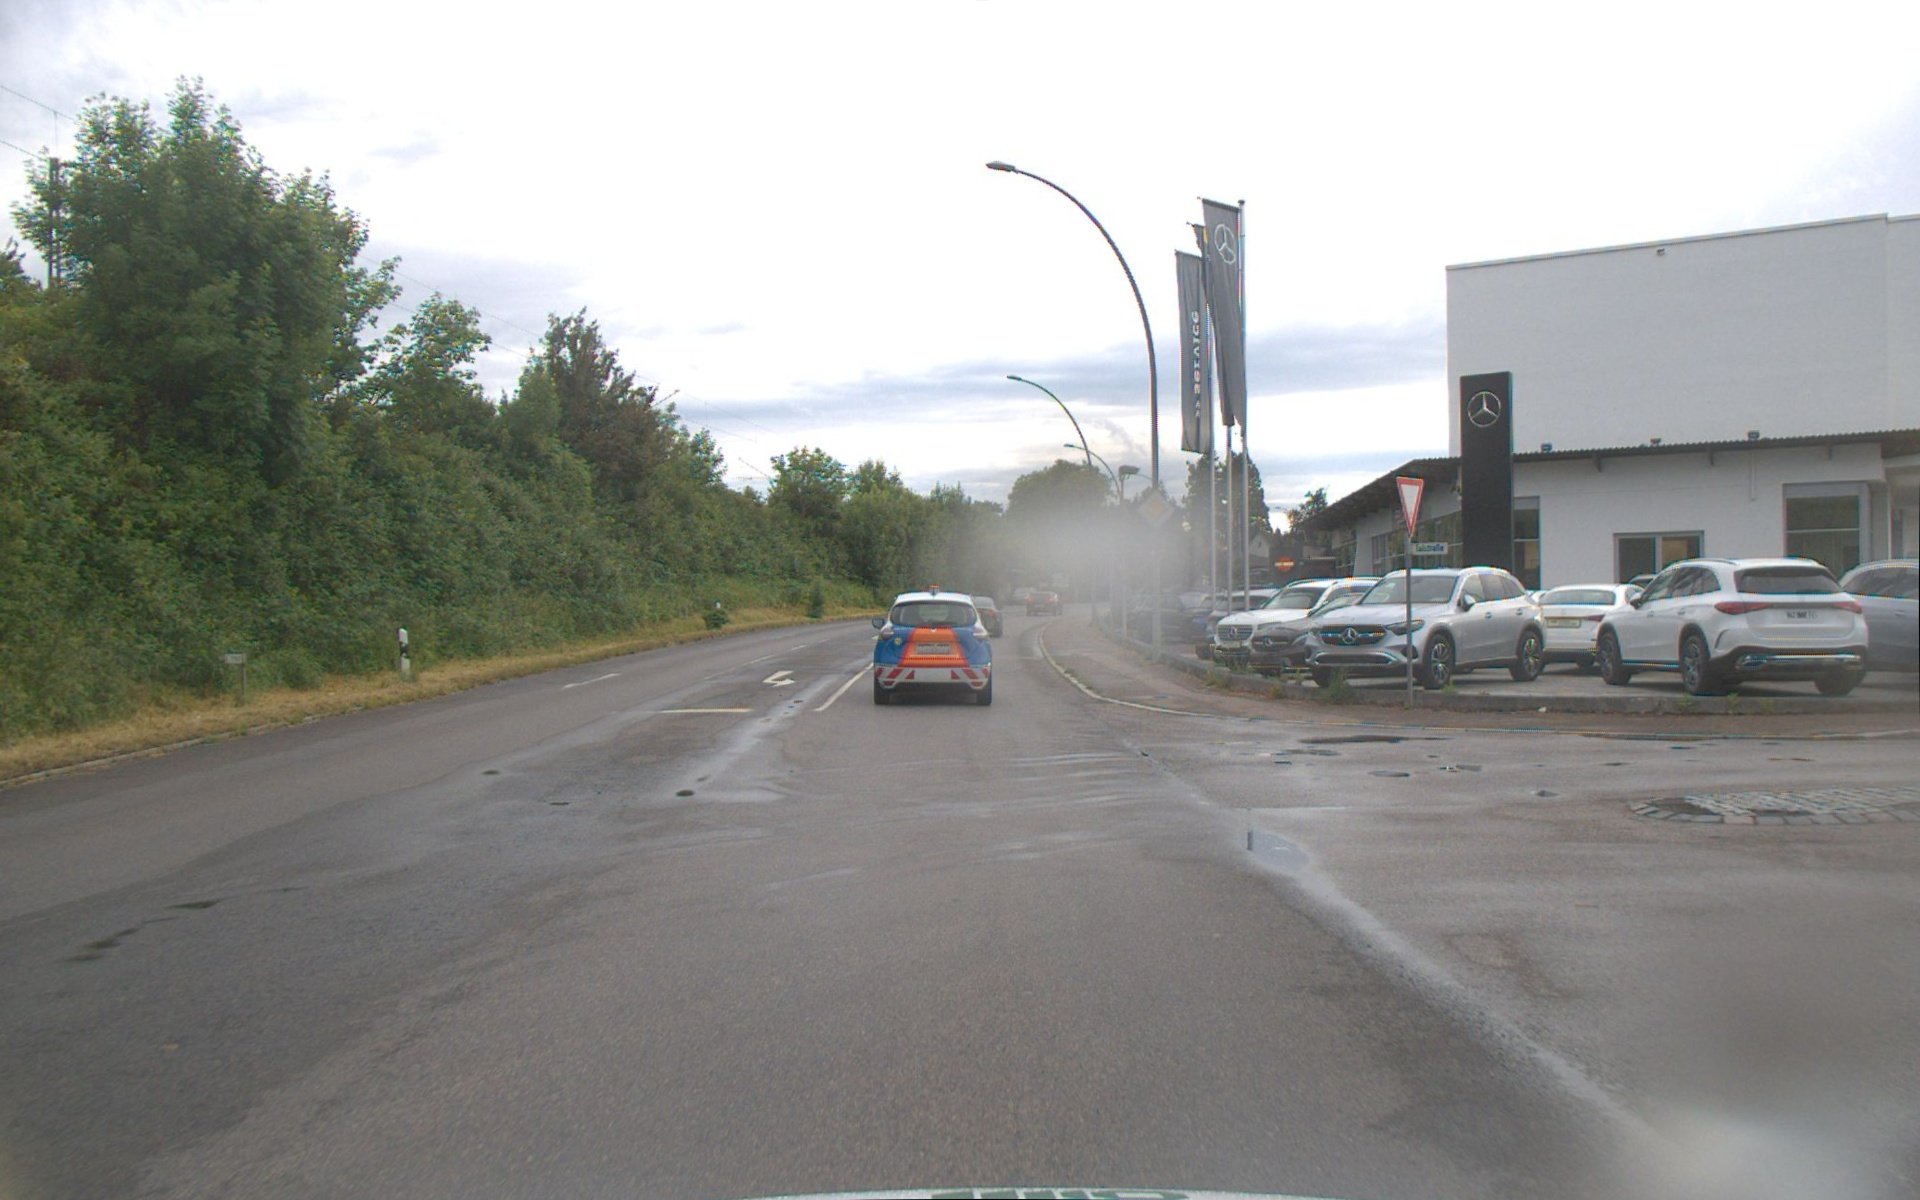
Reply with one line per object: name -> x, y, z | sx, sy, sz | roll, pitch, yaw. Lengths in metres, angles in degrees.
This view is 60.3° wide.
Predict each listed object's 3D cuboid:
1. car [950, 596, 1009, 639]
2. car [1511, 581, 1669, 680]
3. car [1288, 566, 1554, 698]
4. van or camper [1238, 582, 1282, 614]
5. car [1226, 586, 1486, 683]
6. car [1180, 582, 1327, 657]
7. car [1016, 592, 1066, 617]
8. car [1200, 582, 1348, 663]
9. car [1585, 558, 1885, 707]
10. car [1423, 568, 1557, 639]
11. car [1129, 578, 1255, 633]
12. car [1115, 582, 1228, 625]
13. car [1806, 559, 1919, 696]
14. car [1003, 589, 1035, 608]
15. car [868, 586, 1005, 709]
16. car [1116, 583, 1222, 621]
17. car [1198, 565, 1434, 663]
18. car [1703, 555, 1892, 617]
car -> 0.712, 0.605, 58.139 | 1.684, 1.400, 3.936 | 1, 0, 6
car -> 10.694, 0.457, 27.906 | 1.922, 1.525, 4.358 | -1, 0, 28
car -> 6.668, 0.398, 23.654 | 1.932, 1.700, 4.338 | -1, 0, 42
van or camper -> 25.384, -0.169, 139.969 | 2.001, 2.638, 6.584 | -1, 0, 25
car -> 6.645, 0.532, 27.674 | 4.084, 1.418, 1.834 | -2, 0, -29
car -> 7.418, 0.461, 41.520 | 1.807, 1.660, 4.348 | -4, -1, 37
car -> 4.868, 0.269, 98.560 | 1.952, 1.445, 4.001 | -1, 0, 19
car -> 7.176, 0.492, 37.532 | 1.699, 1.627, 3.798 | -3, 0, 38
car -> 9.822, 0.368, 21.425 | 1.770, 1.702, 4.710 | -1, 0, 2
car -> 12.658, 0.058, 39.361 | 1.866, 1.572, 3.985 | -1, 1, 36
car -> 7.434, 0.164, 53.516 | 1.814, 1.636, 4.512 | -3, 1, -26
car -> 8.053, 0.127, 63.176 | 3.927, 1.583, 1.888 | 1, 0, 41
car -> 12.873, 0.328, 20.862 | 1.981, 1.705, 4.503 | -1, 0, -2
car -> 4.877, -0.094, 136.009 | 1.951, 1.500, 4.704 | 1, 0, 10
car -> -0.376, 0.656, 24.666 | 1.850, 1.660, 3.999 | 1, 0, -2
car -> 9.850, 0.083, 78.098 | 4.601, 1.691, 1.994 | 1, 0, 34
car -> 6.789, 0.233, 31.406 | 4.375, 1.681, 1.904 | -2, 0, -34
car -> 22.255, -0.363, 43.974 | 4.317, 1.467, 1.996 | -2, 2, 32
